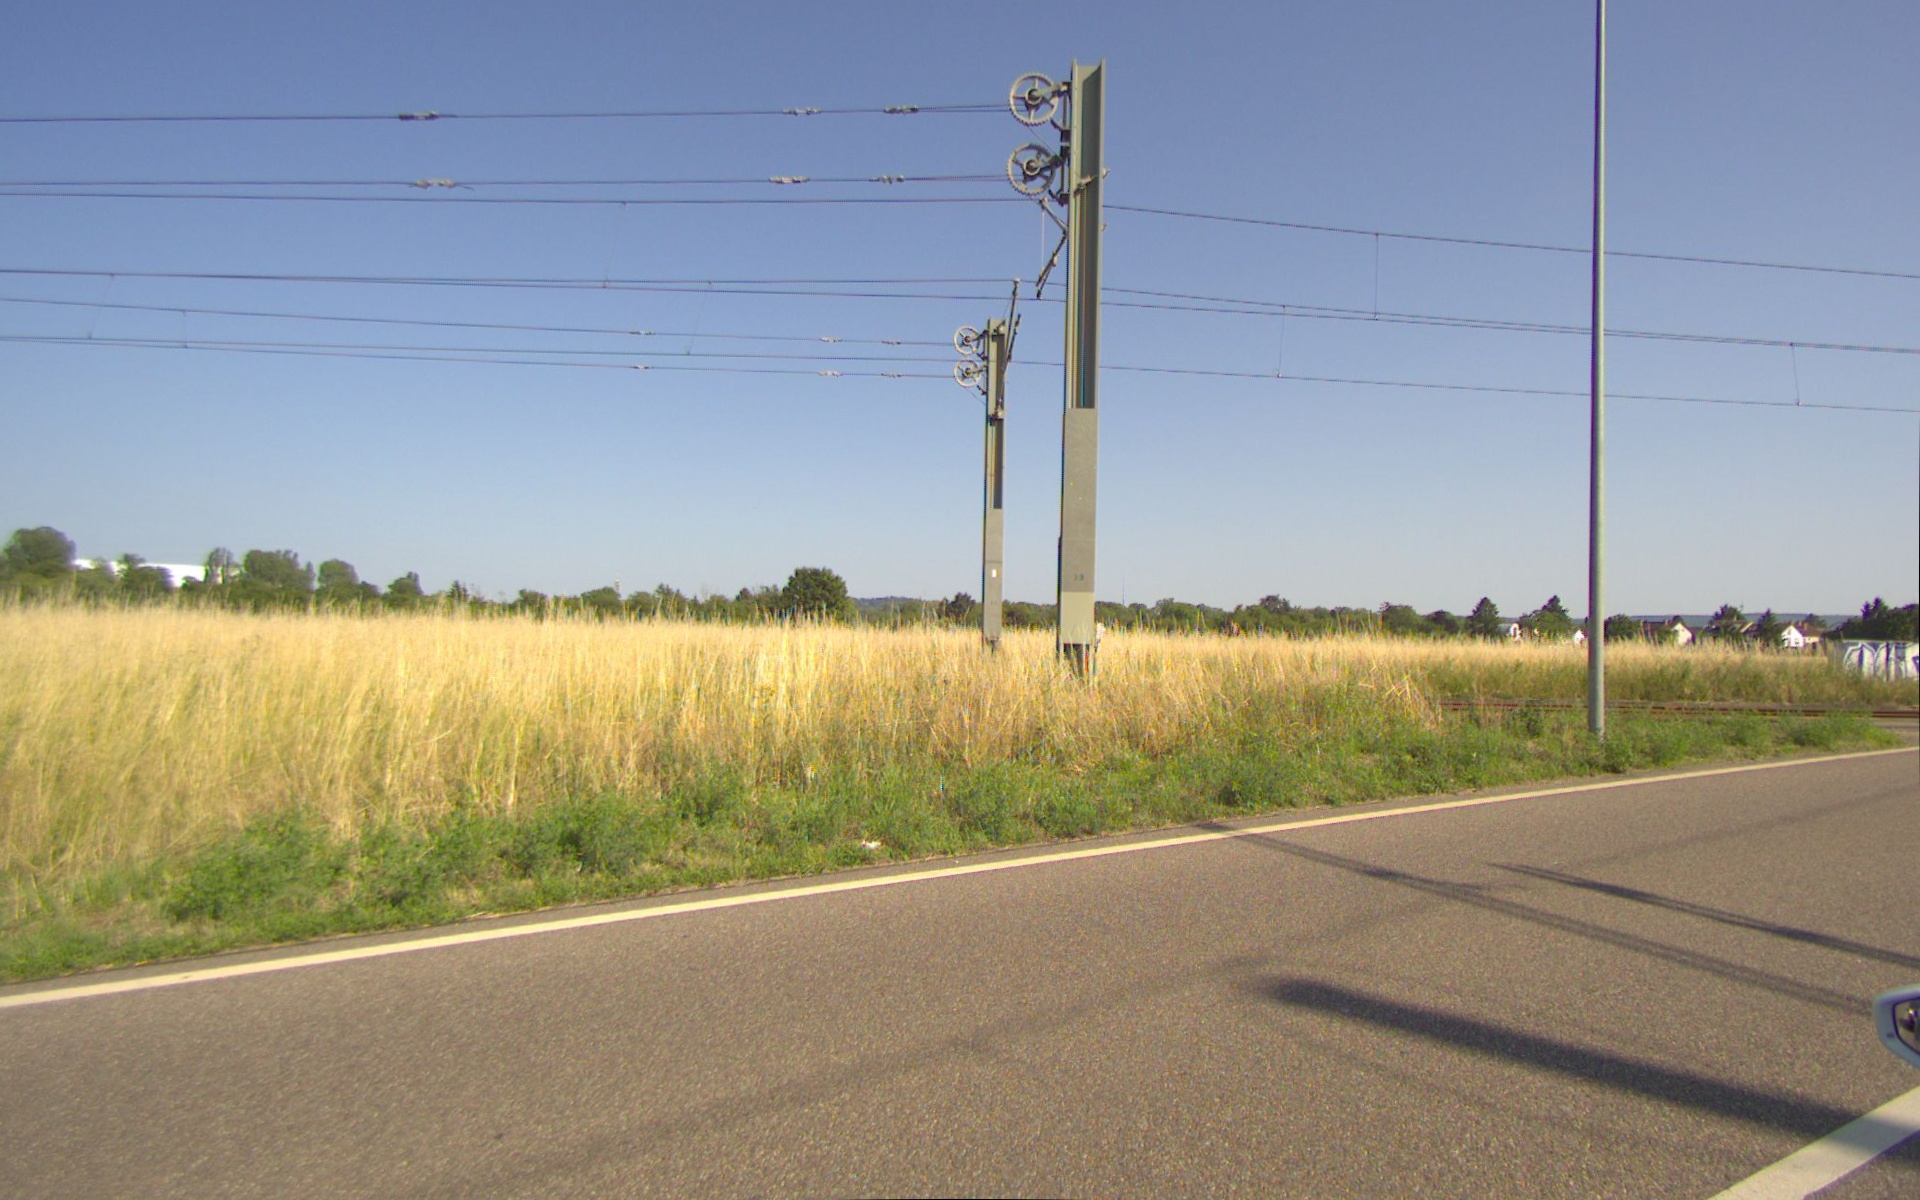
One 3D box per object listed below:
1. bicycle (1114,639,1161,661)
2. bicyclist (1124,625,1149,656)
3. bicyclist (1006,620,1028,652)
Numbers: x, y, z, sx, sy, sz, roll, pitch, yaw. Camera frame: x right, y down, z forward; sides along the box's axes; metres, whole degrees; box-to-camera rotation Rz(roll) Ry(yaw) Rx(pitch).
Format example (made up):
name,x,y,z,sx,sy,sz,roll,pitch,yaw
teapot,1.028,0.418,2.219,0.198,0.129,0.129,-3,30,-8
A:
name,x,y,z,sx,sy,sz,roll,pitch,yaw
bicycle,7.090,1.995,40.165,1.704,0.850,0.751,2,-1,-7
bicyclist,7.062,1.606,40.170,0.775,1.221,0.747,1,-1,-7
bicyclist,2.246,1.413,39.700,0.775,1.221,0.603,1,-1,-7
